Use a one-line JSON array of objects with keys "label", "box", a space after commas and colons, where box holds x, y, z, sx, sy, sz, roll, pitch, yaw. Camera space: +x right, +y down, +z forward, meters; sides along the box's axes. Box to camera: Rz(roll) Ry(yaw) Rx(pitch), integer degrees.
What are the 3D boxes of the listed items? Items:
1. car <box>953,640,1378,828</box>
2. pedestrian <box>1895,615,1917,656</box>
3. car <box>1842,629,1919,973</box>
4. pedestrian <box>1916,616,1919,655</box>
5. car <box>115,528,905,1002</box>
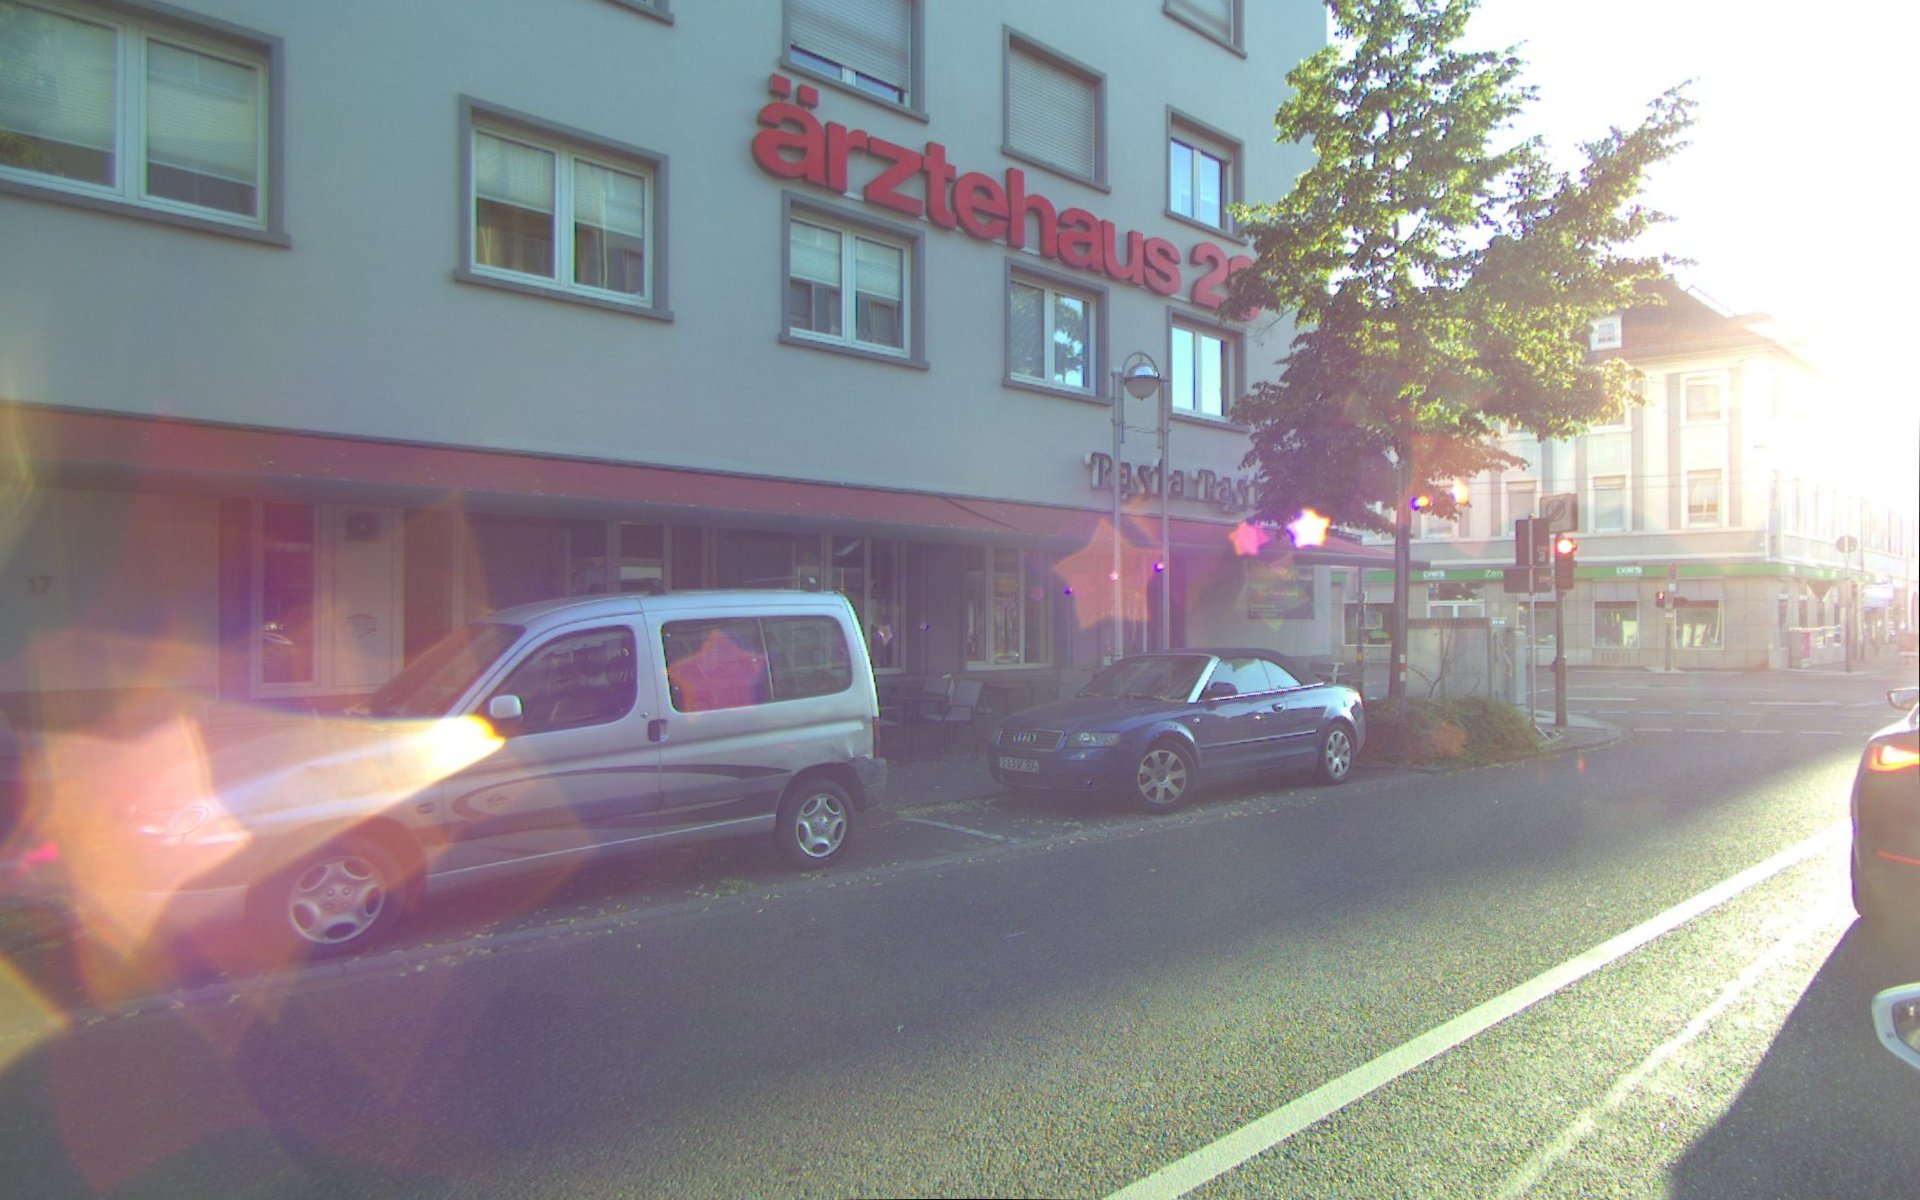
[{"label": "car", "box": [2.121, 1.121, 9.694, 4.244, 1.434, 1.710, 2, -4, -39]}, {"label": "pedestrian", "box": [45.225, 1.682, 48.031, 0.626, 1.901, 0.638, 1, 0, -38]}, {"label": "car", "box": [6.062, 0.896, 5.106, 4.188, 1.447, 1.723, 1, -1, -39]}, {"label": "pedestrian", "box": [46.128, 1.702, 47.970, 0.673, 1.901, 0.610, 1, 0, -42]}, {"label": "car", "box": [-2.426, 0.751, 6.035, 4.022, 1.912, 1.655, 2, -4, -41]}]
